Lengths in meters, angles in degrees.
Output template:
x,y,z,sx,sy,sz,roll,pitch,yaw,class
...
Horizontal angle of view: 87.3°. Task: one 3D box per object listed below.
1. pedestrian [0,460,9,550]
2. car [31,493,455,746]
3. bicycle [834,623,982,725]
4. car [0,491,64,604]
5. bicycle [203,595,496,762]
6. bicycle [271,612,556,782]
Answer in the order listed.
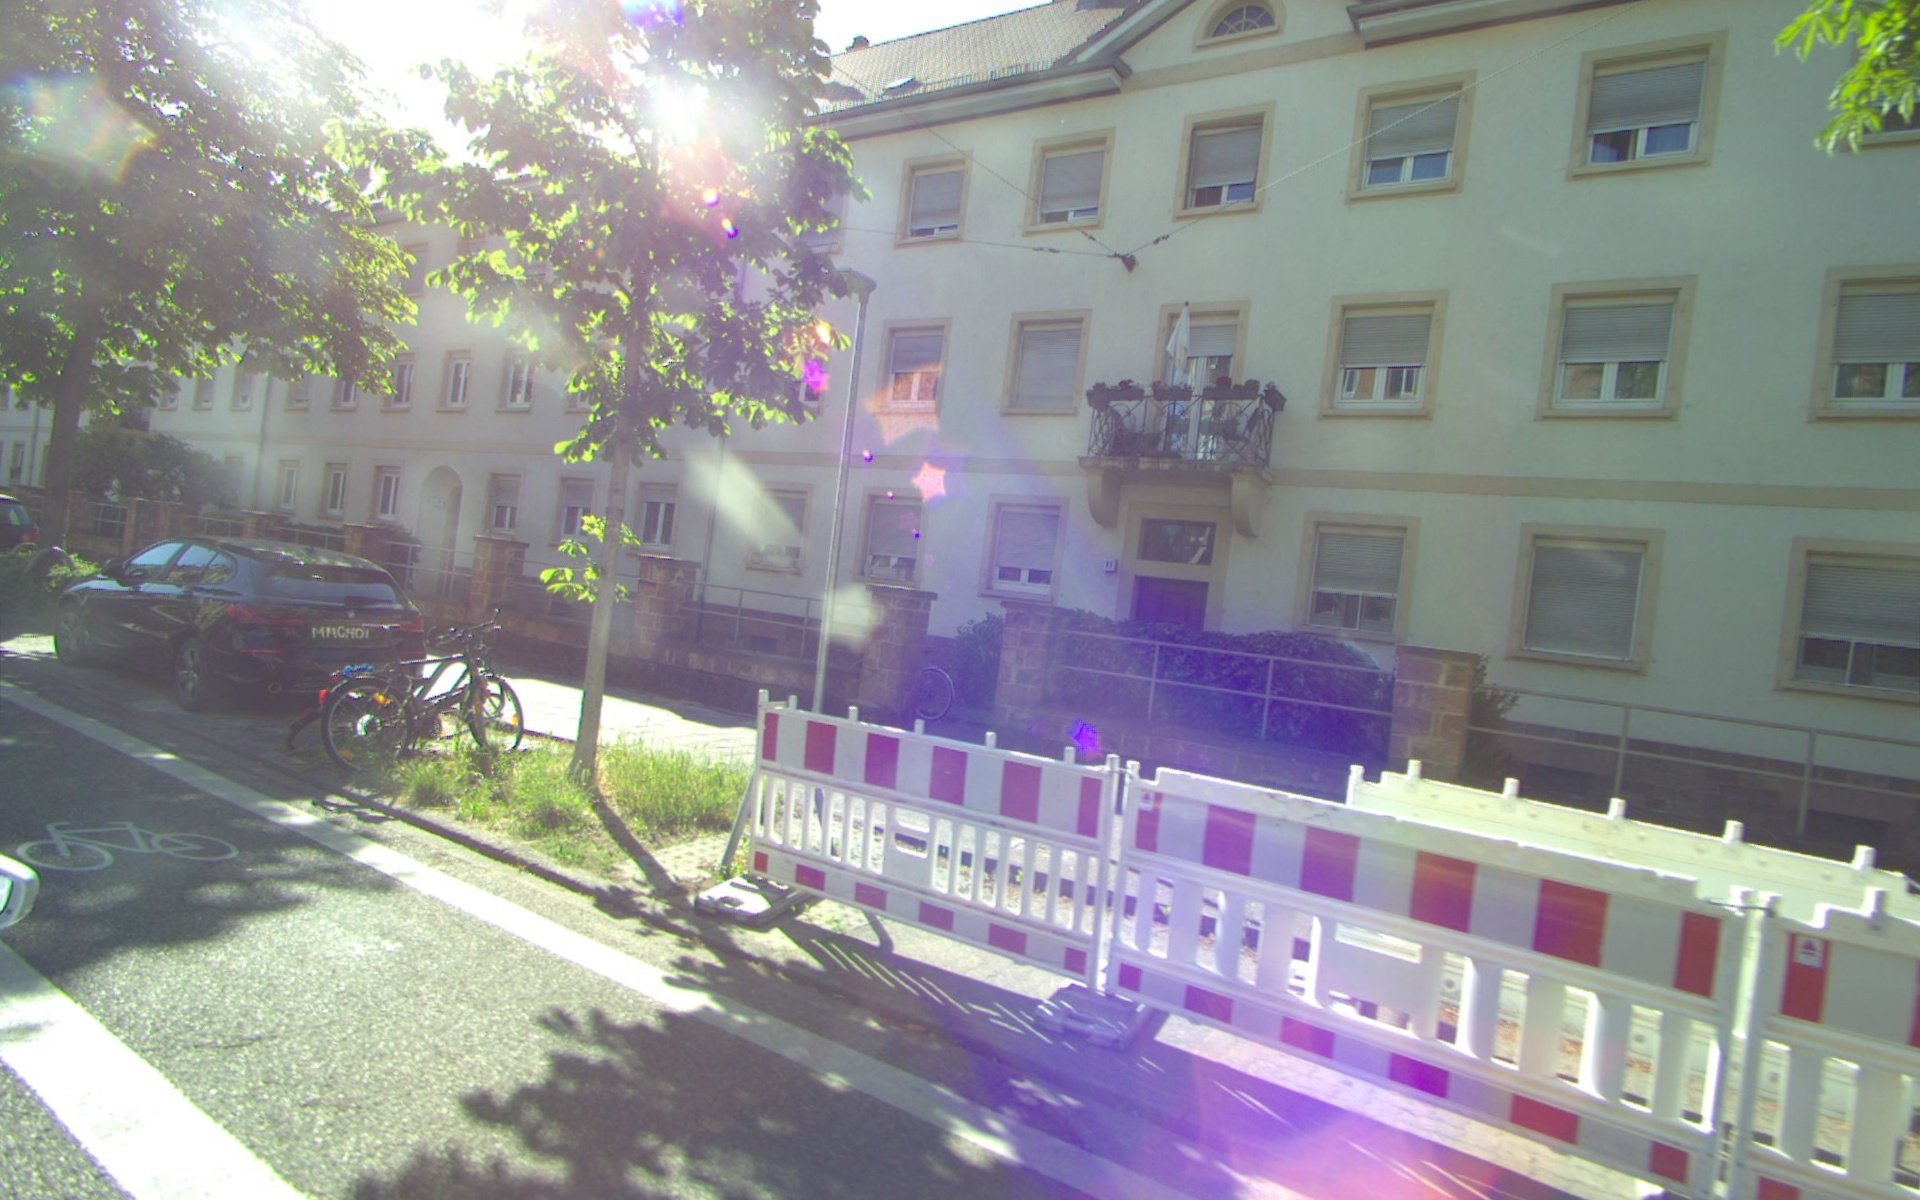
x,y,z,sx,sy,sz,roll,pitch,yaw,class
-19.674,-1.941,19.976,0.896,1.794,0.600,6,2,1,pedestrian
-6.928,0.090,9.610,4.160,1.783,1.667,7,1,31,car
-0.698,0.954,13.160,1.840,1.066,0.560,7,0,32,bicycle
-15.055,-0.968,14.651,4.174,1.492,1.722,7,0,30,car
-4.511,0.630,7.587,0.426,1.090,1.765,7,-3,33,bicycle
-3.995,0.749,7.521,0.426,1.090,1.765,7,-3,33,bicycle
